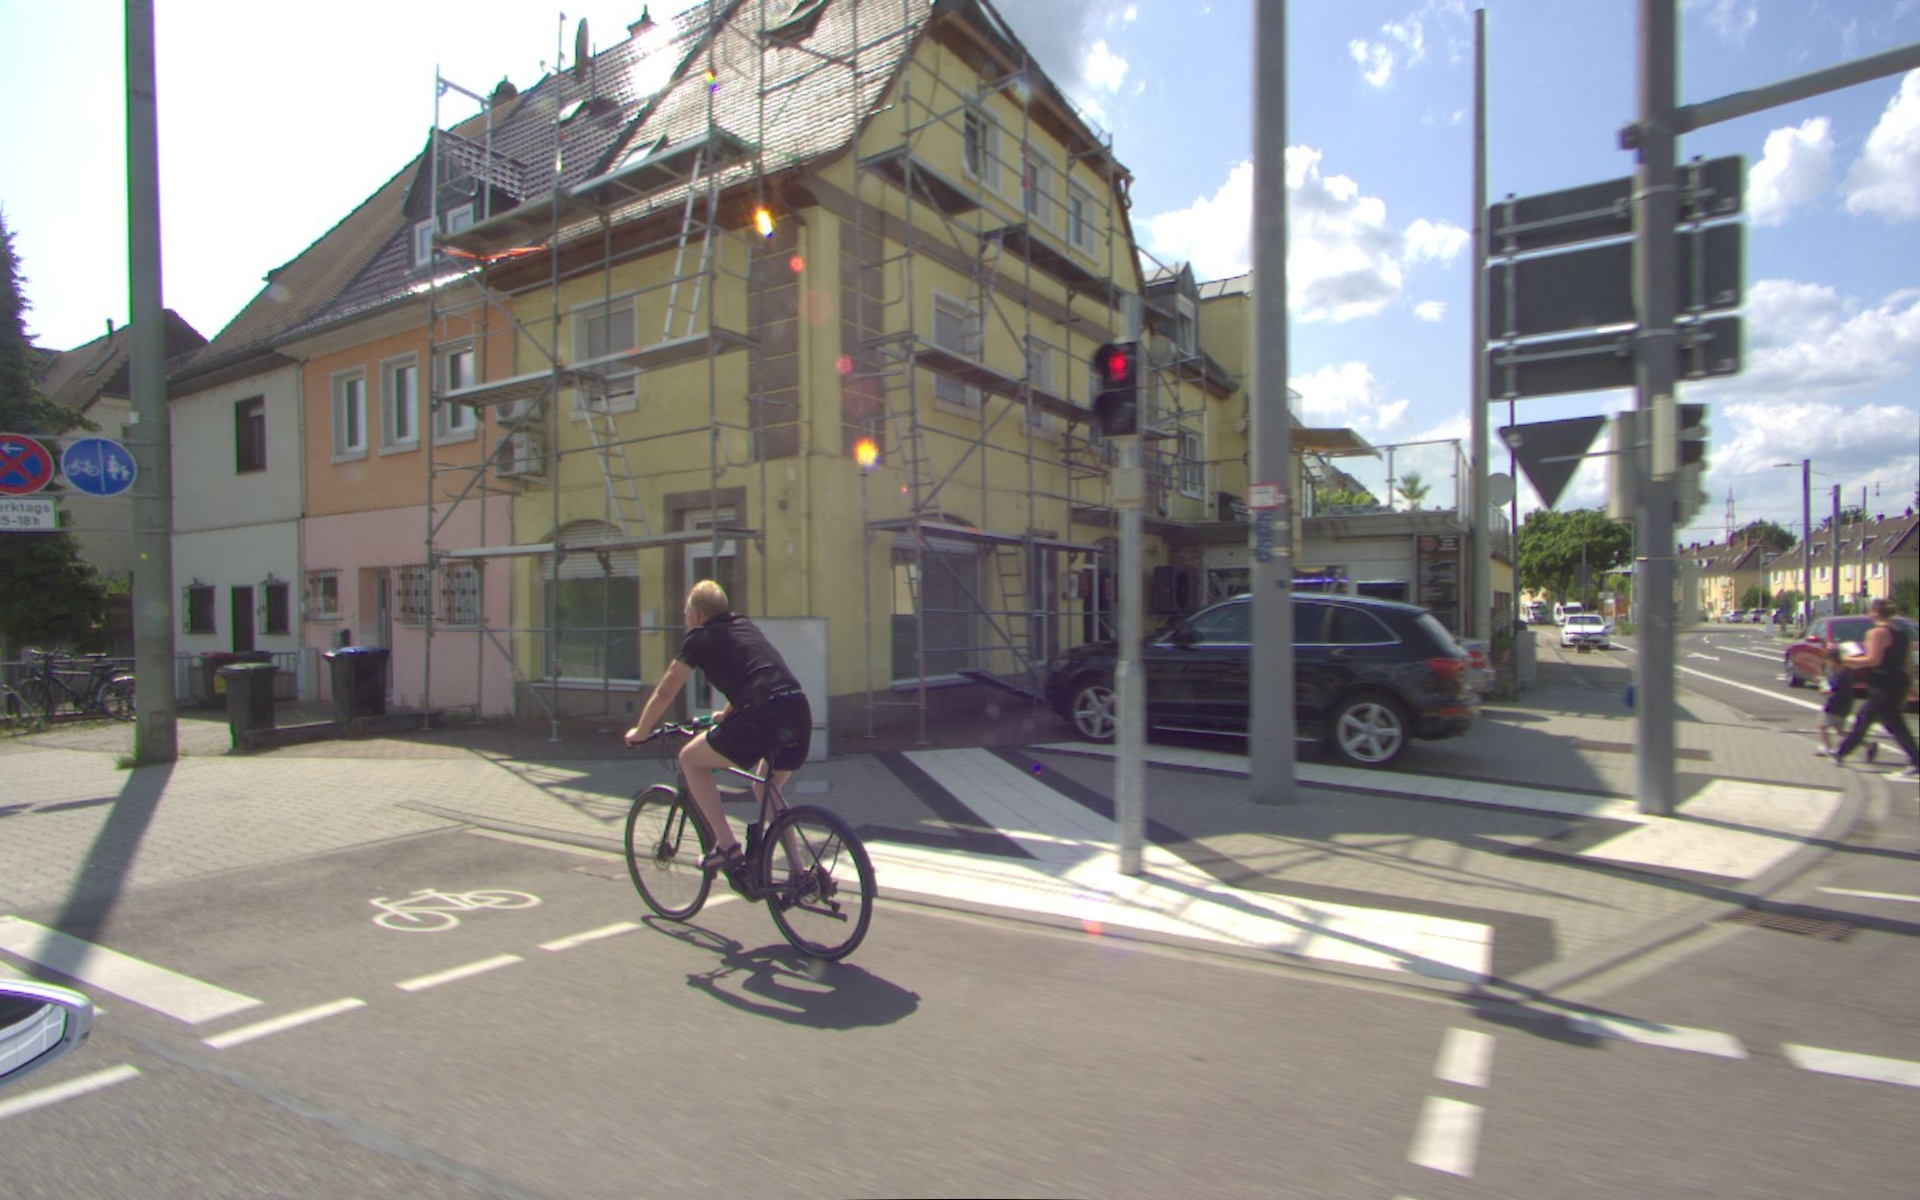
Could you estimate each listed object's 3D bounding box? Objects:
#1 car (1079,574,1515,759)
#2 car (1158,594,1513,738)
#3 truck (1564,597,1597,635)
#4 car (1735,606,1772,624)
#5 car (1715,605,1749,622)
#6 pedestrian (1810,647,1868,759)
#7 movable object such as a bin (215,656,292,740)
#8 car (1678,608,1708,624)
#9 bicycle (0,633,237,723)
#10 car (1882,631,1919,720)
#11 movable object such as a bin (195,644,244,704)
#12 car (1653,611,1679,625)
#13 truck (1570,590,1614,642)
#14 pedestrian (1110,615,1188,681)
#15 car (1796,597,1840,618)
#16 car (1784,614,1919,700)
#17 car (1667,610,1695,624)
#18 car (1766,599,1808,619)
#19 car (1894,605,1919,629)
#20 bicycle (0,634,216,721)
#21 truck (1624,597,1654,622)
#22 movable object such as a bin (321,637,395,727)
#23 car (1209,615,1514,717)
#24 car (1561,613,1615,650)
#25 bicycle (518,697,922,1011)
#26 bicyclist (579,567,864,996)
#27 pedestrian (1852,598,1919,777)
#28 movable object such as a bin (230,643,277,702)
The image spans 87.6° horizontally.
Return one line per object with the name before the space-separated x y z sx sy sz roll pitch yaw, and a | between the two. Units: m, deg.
car | 3.541 0.660 10.705 4.073 1.616 1.990 -1 -2 33
car | 4.893 0.820 13.186 4.073 1.616 1.990 -1 -2 33
truck | 62.033 1.696 100.167 2.344 3.582 8.498 -1 -2 29
car | 81.877 1.526 103.399 1.967 1.746 3.991 -1 -2 23
car | 83.575 1.476 108.484 1.967 1.746 3.991 -1 -2 23
pedestrian | 9.299 1.071 10.601 0.383 1.150 0.487 -1 -2 34
movable object such as a bin | -8.302 1.138 11.768 0.731 0.930 0.510 -1 -1 33
car | 87.709 1.930 119.900 1.967 1.746 3.991 -1 -2 23
bicycle | -12.586 1.117 15.061 0.775 1.120 2.656 -1 0 32
car | 14.810 1.094 14.147 1.714 1.325 4.311 -1 -2 30
movable object such as a bin | -12.198 1.212 16.497 0.550 0.959 0.467 -1 0 32
car | 91.068 2.295 129.204 1.967 1.746 3.990 -1 -2 24
truck | 49.564 1.379 78.628 2.473 3.874 7.612 -1 -2 29
pedestrian | 3.336 0.844 17.628 1.082 1.114 0.966 -1 -2 32
car | 76.231 0.668 89.017 1.968 1.746 3.988 -1 -2 26
car | 17.516 1.069 19.321 1.713 1.492 4.312 -1 -2 29
car | 89.828 2.128 124.867 1.967 1.746 3.991 -1 -2 23
car | 79.001 0.873 95.707 1.967 1.746 3.991 -1 -2 23
car | 73.117 1.314 76.095 1.968 1.746 3.988 -1 -2 26
bicycle | -13.203 1.140 15.428 0.681 1.134 2.720 -1 0 32
truck | 93.957 1.322 138.679 1.964 3.266 5.331 -1 -2 17
movable object such as a bin | -7.739 1.036 12.872 0.843 1.119 0.510 -1 -1 33
car | 6.107 0.968 15.345 4.073 1.368 1.864 -2 -2 33
car | 26.886 1.382 42.947 1.713 1.492 4.312 -1 -2 29
bicycle | -1.217 1.113 4.921 1.944 1.090 0.826 0 1 34
bicyclist | -1.149 0.765 4.870 1.069 1.818 0.826 0 2 34
pedestrian | 8.941 0.825 9.671 0.543 1.664 0.398 1 -2 -41
movable object such as a bin | -11.933 1.209 16.909 0.550 0.959 0.467 -1 0 32
